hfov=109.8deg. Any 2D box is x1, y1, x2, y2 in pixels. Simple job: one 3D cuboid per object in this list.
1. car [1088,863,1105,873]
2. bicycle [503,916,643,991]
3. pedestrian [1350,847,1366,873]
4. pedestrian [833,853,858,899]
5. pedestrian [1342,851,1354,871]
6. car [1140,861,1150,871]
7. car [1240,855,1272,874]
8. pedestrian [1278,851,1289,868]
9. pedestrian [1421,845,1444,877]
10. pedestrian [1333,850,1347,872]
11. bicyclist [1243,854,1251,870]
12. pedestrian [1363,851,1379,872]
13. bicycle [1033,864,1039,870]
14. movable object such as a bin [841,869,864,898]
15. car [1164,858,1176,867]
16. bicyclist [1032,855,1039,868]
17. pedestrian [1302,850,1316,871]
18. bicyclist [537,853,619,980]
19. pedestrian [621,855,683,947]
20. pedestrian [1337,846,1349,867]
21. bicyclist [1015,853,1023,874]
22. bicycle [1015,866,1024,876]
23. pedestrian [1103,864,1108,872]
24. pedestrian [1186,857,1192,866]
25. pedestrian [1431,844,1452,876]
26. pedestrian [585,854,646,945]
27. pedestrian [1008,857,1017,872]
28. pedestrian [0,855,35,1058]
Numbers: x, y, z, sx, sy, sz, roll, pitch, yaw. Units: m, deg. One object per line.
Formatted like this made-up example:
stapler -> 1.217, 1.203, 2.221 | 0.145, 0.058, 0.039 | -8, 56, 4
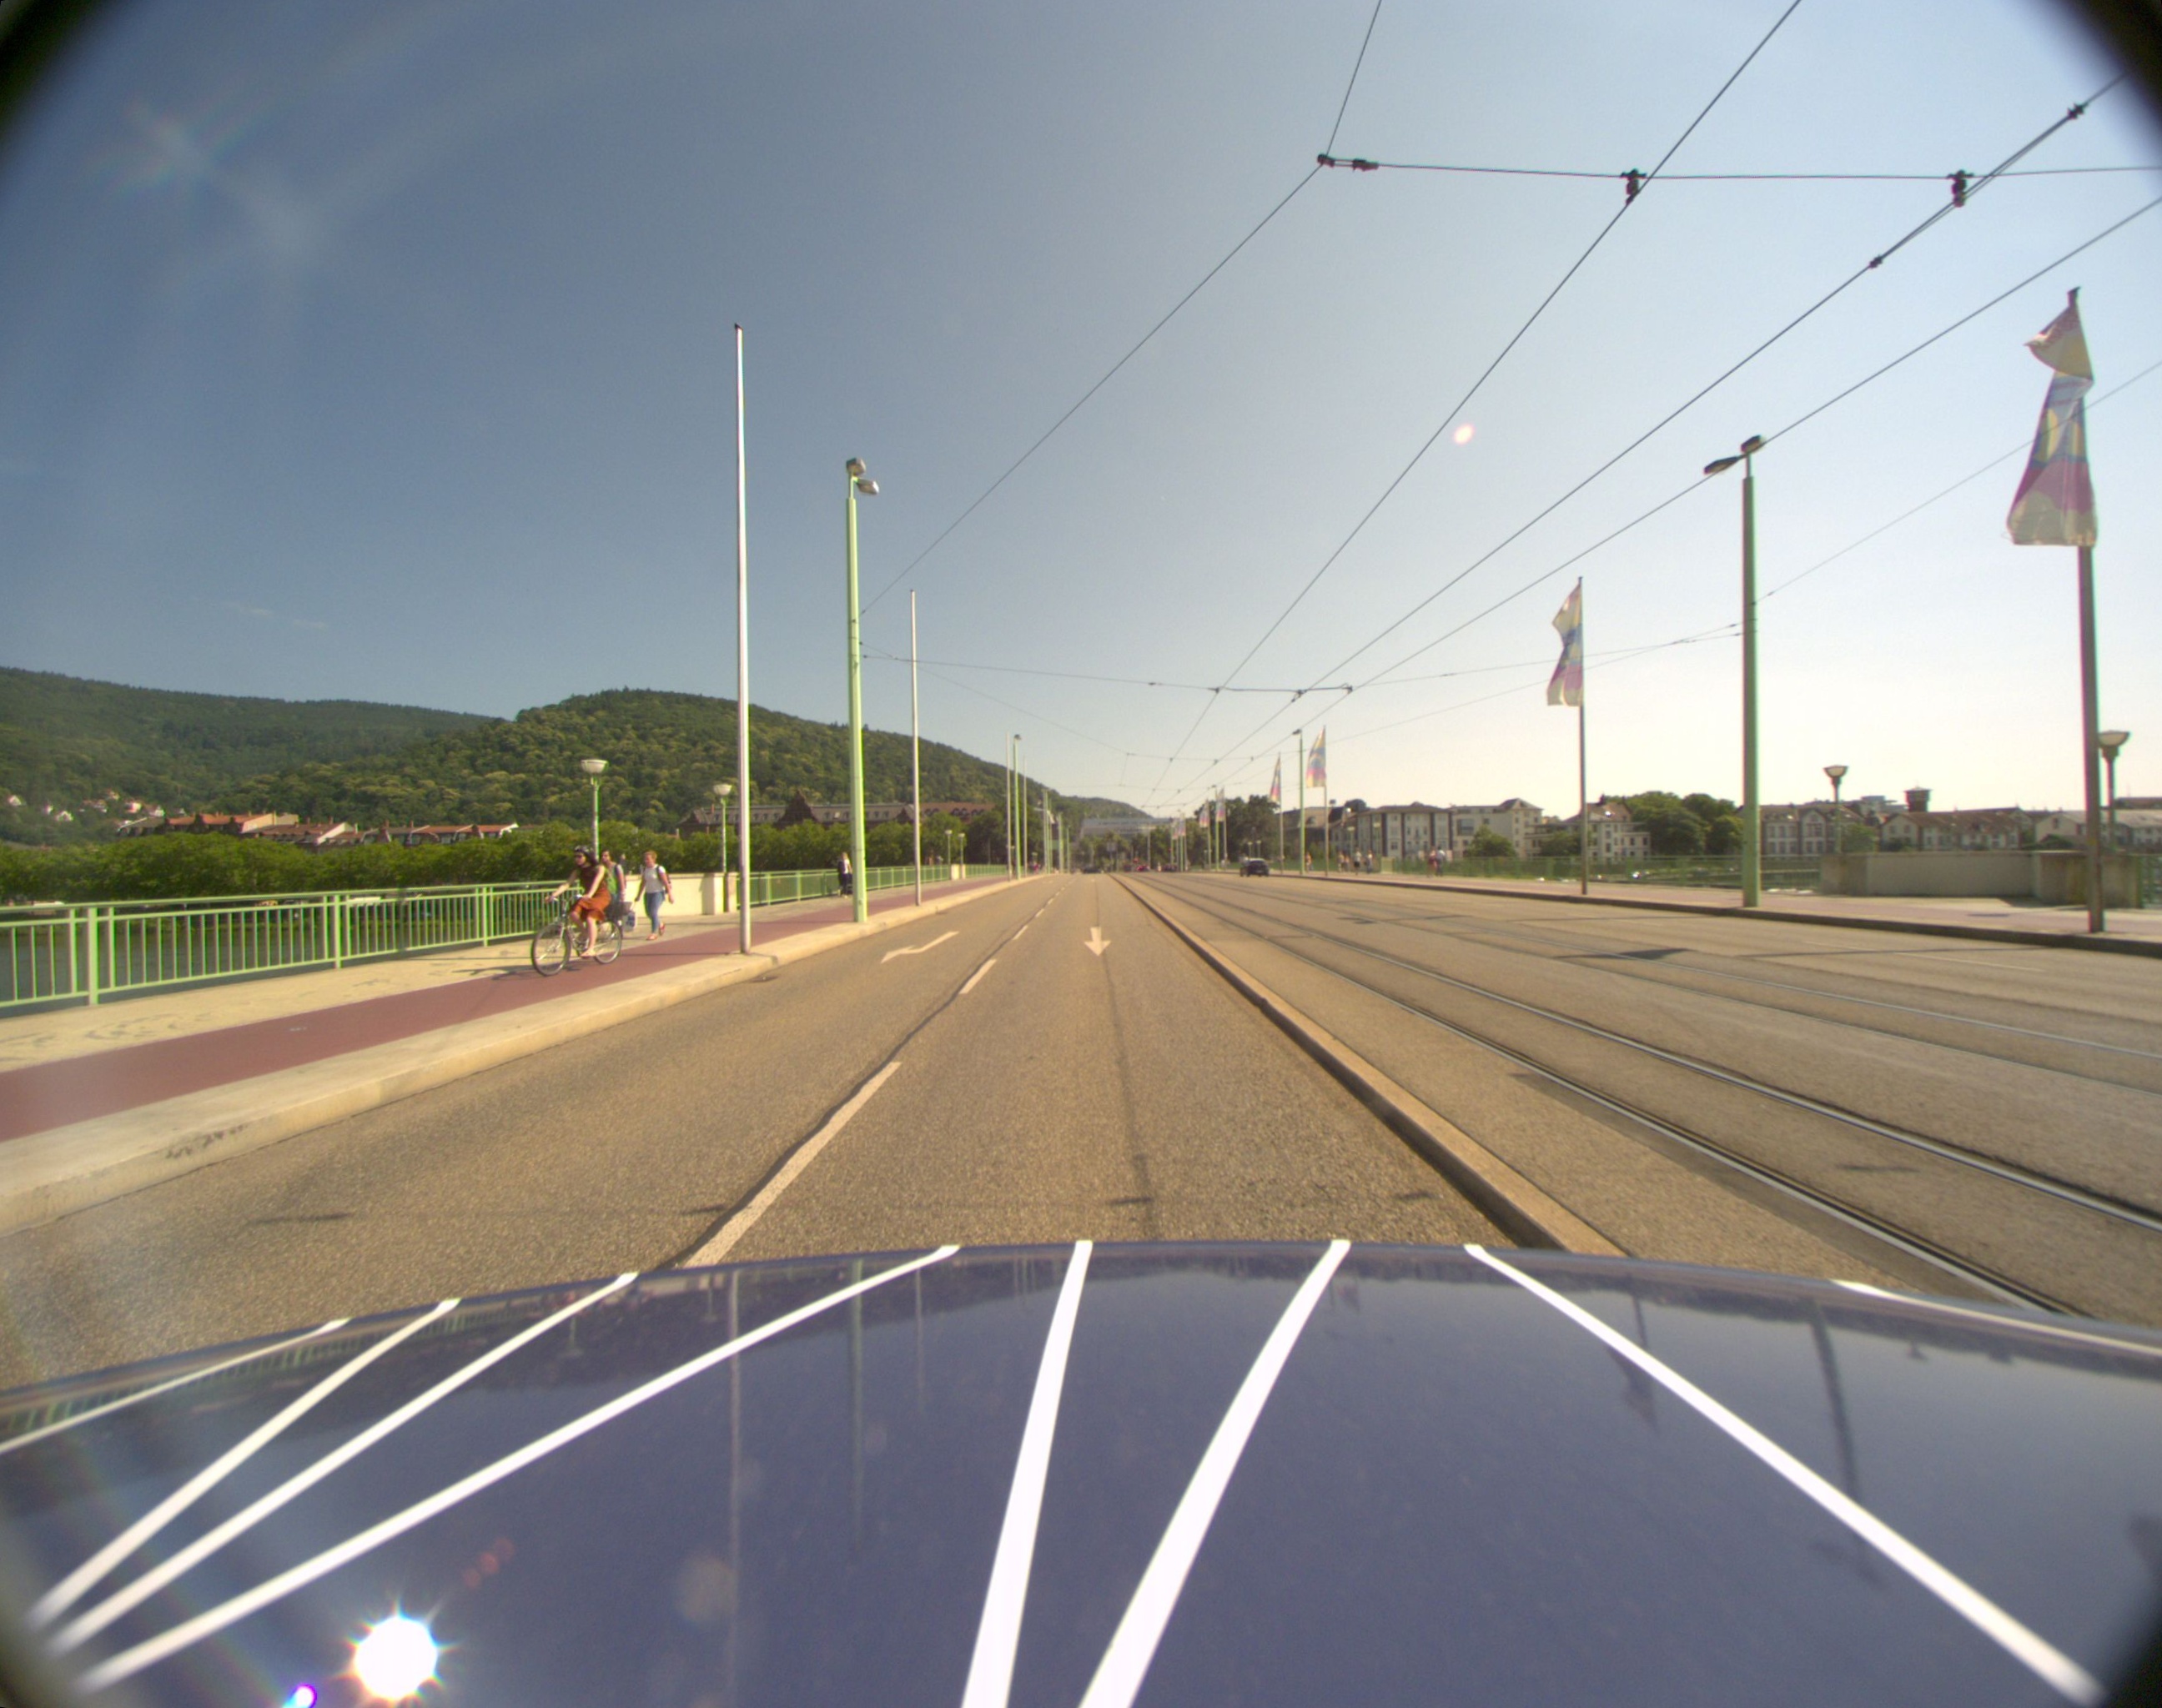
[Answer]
car -> 3.900, 3.376, 186.293 | 3.996, 2.002, 2.000 | -5, 0, 3
bicycle -> -6.750, 1.293, 10.231 | 0.595, 0.761, 1.866 | 0, 0, 1
pedestrian -> 18.663, 0.375, 51.173 | 0.671, 1.690, 1.022 | -3, 1, 1
pedestrian -> -8.875, 0.817, 28.656 | 0.664, 1.696, 0.859 | 0, 1, 1
pedestrian -> 19.944, 0.536, 56.707 | 0.547, 1.429, 0.789 | -3, 1, 1
car -> 12.524, 2.295, 149.036 | 1.714, 1.686, 4.000 | -5, 0, 2
car -> 13.883, 0.783, 60.586 | 1.720, 1.446, 3.901 | 0, 0, 1
pedestrian -> 20.828, 0.589, 78.103 | 0.787, 1.690, 1.022 | -3, 1, 1
pedestrian -> 19.194, 0.362, 41.513 | 0.686, 1.680, 1.022 | -3, 1, 1
pedestrian -> 19.280, 0.501, 56.555 | 0.627, 1.590, 1.022 | -3, 1, 1
bicyclist -> 18.316, 0.880, 83.877 | 0.666, 1.641, 0.622 | -1, 1, 2
pedestrian -> 19.378, 0.488, 50.806 | 0.592, 1.406, 1.022 | -3, 0, 1
bicycle -> -5.703, 1.670, 95.575 | 0.595, 0.761, 1.866 | 0, 0, 1
movable object such as a bin -> -8.870, 1.131, 29.509 | 0.583, 1.084, 0.933 | 0, 0, 0
car -> 14.983, 1.496, 128.380 | 1.672, 1.428, 4.000 | -1, 1, 2
bicyclist -> -5.675, 0.949, 95.325 | 0.731, 1.655, 0.844 | -1, 0, 2
pedestrian -> 19.101, 0.574, 63.679 | 0.787, 1.690, 1.022 | -3, 1, 1
bicyclist -> -6.746, 0.813, 10.218 | 0.606, 1.641, 0.702 | 0, 1, 2
pedestrian -> -7.905, 0.841, 14.038 | 0.664, 1.649, 0.825 | 0, 1, 1
pedestrian -> 21.157, 0.191, 61.322 | 0.592, 1.690, 1.022 | -3, 1, 1
bicyclist -> -5.276, 0.827, 64.899 | 0.587, 1.759, 0.672 | 0, 1, 2
bicycle -> -5.271, 1.461, 64.915 | 0.595, 0.761, 1.866 | 0, 0, 1
pedestrian -> 6.594, 3.838, 204.918 | 1.036, 2.002, 1.200 | -3, 2, -20
pedestrian -> 19.663, 1.331, 138.094 | 0.787, 1.690, 1.022 | -3, 1, 1
pedestrian -> 20.193, 0.332, 42.587 | 0.592, 1.690, 1.022 | -3, 1, 1
pedestrian -> -8.671, 0.830, 14.174 | 0.669, 1.649, 0.746 | 0, 1, 1
pedestrian -> -7.820, 1.205, 86.878 | 0.949, 1.653, 1.082 | 1, 0, 1
pedestrian -> -9.268, 0.832, 5.840 | 0.949, 1.653, 1.082 | 0, 1, 1
